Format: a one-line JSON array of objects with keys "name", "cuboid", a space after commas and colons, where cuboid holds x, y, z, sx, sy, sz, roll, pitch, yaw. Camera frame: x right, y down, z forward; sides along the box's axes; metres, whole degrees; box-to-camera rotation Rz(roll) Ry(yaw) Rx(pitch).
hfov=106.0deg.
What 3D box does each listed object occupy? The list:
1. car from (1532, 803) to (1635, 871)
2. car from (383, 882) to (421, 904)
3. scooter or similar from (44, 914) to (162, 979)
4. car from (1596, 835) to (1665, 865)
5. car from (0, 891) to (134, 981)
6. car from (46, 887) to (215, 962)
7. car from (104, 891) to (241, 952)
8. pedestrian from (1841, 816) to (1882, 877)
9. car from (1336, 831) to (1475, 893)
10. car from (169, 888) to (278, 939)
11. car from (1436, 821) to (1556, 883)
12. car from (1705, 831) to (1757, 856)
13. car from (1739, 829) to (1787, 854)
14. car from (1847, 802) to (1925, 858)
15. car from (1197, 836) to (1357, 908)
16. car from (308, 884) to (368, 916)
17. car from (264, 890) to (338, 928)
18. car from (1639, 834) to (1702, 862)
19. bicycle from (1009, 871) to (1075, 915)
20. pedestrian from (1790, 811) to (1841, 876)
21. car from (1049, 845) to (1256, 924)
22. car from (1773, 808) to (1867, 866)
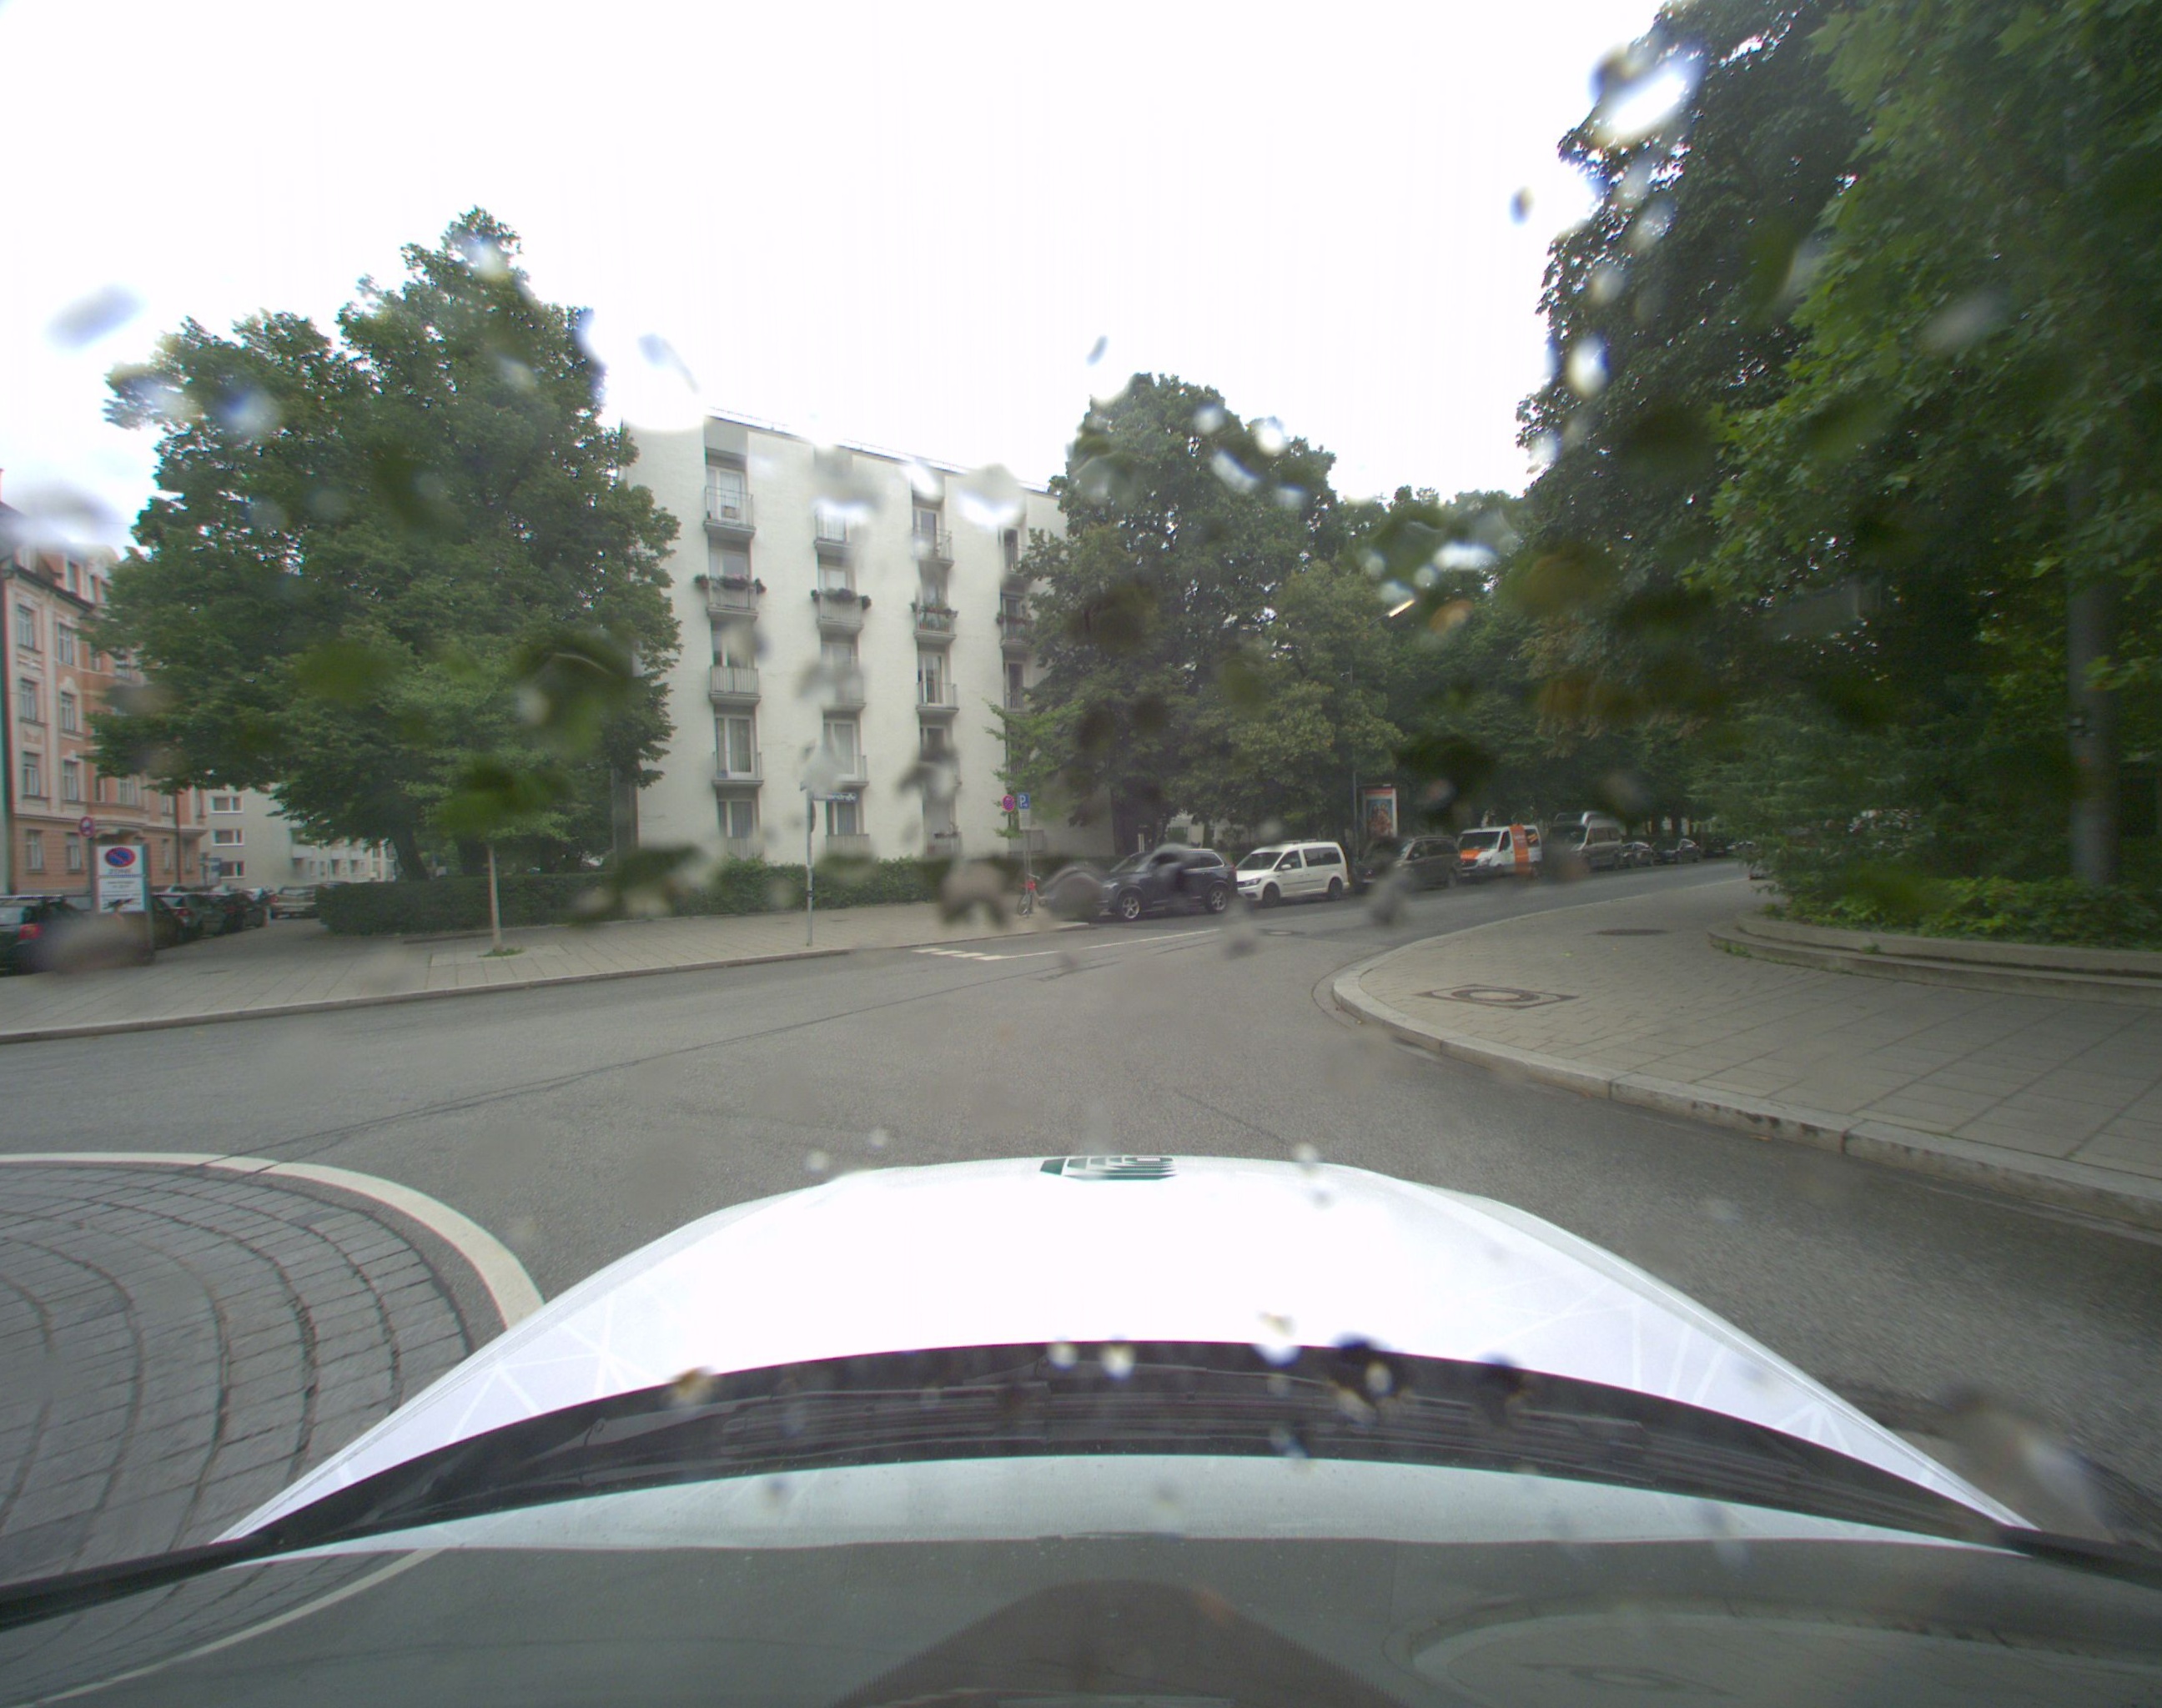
[{"name": "car", "cuboid": [24.146, -0.823, 39.028, 6.264, 3.002, 2.154, -2, 0, -39]}, {"name": "car", "cuboid": [-51.817, 2.980, 62.193, 1.682, 1.456, 3.639, -5, 1, -32]}, {"name": "scooter or similar", "cuboid": [-18.016, 1.676, 15.039, 1.319, 1.024, 0.522, -2, 0, -44]}, {"name": "car", "cuboid": [28.771, -0.210, 42.590, 4.022, 1.420, 1.976, -2, 0, -41]}, {"name": "car", "cuboid": [-20.871, 1.605, 16.122, 1.682, 1.528, 3.639, -5, 1, -32]}, {"name": "car", "cuboid": [-23.838, 1.690, 20.602, 1.682, 1.528, 3.639, -5, 1, -32]}, {"name": "car", "cuboid": [-26.861, 1.937, 24.221, 1.682, 1.456, 3.639, -5, 1, -32]}, {"name": "pedestrian", "cuboid": [21.961, -0.221, 22.917, 0.627, 1.667, 0.701, -3, 0, 30]}, {"name": "car", "cuboid": [11.605, 0.244, 28.886, 5.696, 1.908, 2.009, -2, -1, -40]}, {"name": "car", "cuboid": [-29.934, 2.038, 28.564, 1.682, 1.456, 3.639, -5, 1, -32]}, {"name": "car", "cuboid": [17.134, -0.130, 33.484, 5.629, 2.265, 2.066, -2, -2, -38]}, {"name": "car", "cuboid": [43.670, -0.726, 54.702, 4.151, 1.486, 1.976, -2, 0, -41]}, {"name": "car", "cuboid": [48.927, -0.896, 58.416, 4.151, 1.620, 1.976, -2, 0, -41]}, {"name": "car", "cuboid": [39.735, -1.178, 40.141, 5.457, 2.558, 1.977, -2, 0, -38]}, {"name": "car", "cuboid": [6.015, 0.491, 24.758, 4.881, 1.903, 2.067, -2, 0, -37]}, {"name": "car", "cuboid": [-40.102, 2.473, 44.017, 1.682, 1.456, 3.639, -5, 1, -32]}, {"name": "car", "cuboid": [-36.168, 2.496, 37.838, 1.682, 1.456, 3.639, -5, 1, -32]}, {"name": "car", "cuboid": [33.198, -0.357, 45.827, 4.151, 1.420, 1.976, -2, 0, -41]}, {"name": "bicycle", "cuboid": [-1.053, 1.047, 22.390, 0.744, 1.085, 1.795, -3, 0, 42]}, {"name": "pedestrian", "cuboid": [21.634, -0.301, 24.007, 0.812, 1.836, 0.958, -2, 0, 25]}, {"name": "car", "cuboid": [1.975, 0.716, 21.458, 5.328, 1.719, 2.067, -2, 0, -36]}, {"name": "car", "cuboid": [27.198, -0.631, 29.909, 4.995, 1.937, 1.895, -2, 0, -40]}]
